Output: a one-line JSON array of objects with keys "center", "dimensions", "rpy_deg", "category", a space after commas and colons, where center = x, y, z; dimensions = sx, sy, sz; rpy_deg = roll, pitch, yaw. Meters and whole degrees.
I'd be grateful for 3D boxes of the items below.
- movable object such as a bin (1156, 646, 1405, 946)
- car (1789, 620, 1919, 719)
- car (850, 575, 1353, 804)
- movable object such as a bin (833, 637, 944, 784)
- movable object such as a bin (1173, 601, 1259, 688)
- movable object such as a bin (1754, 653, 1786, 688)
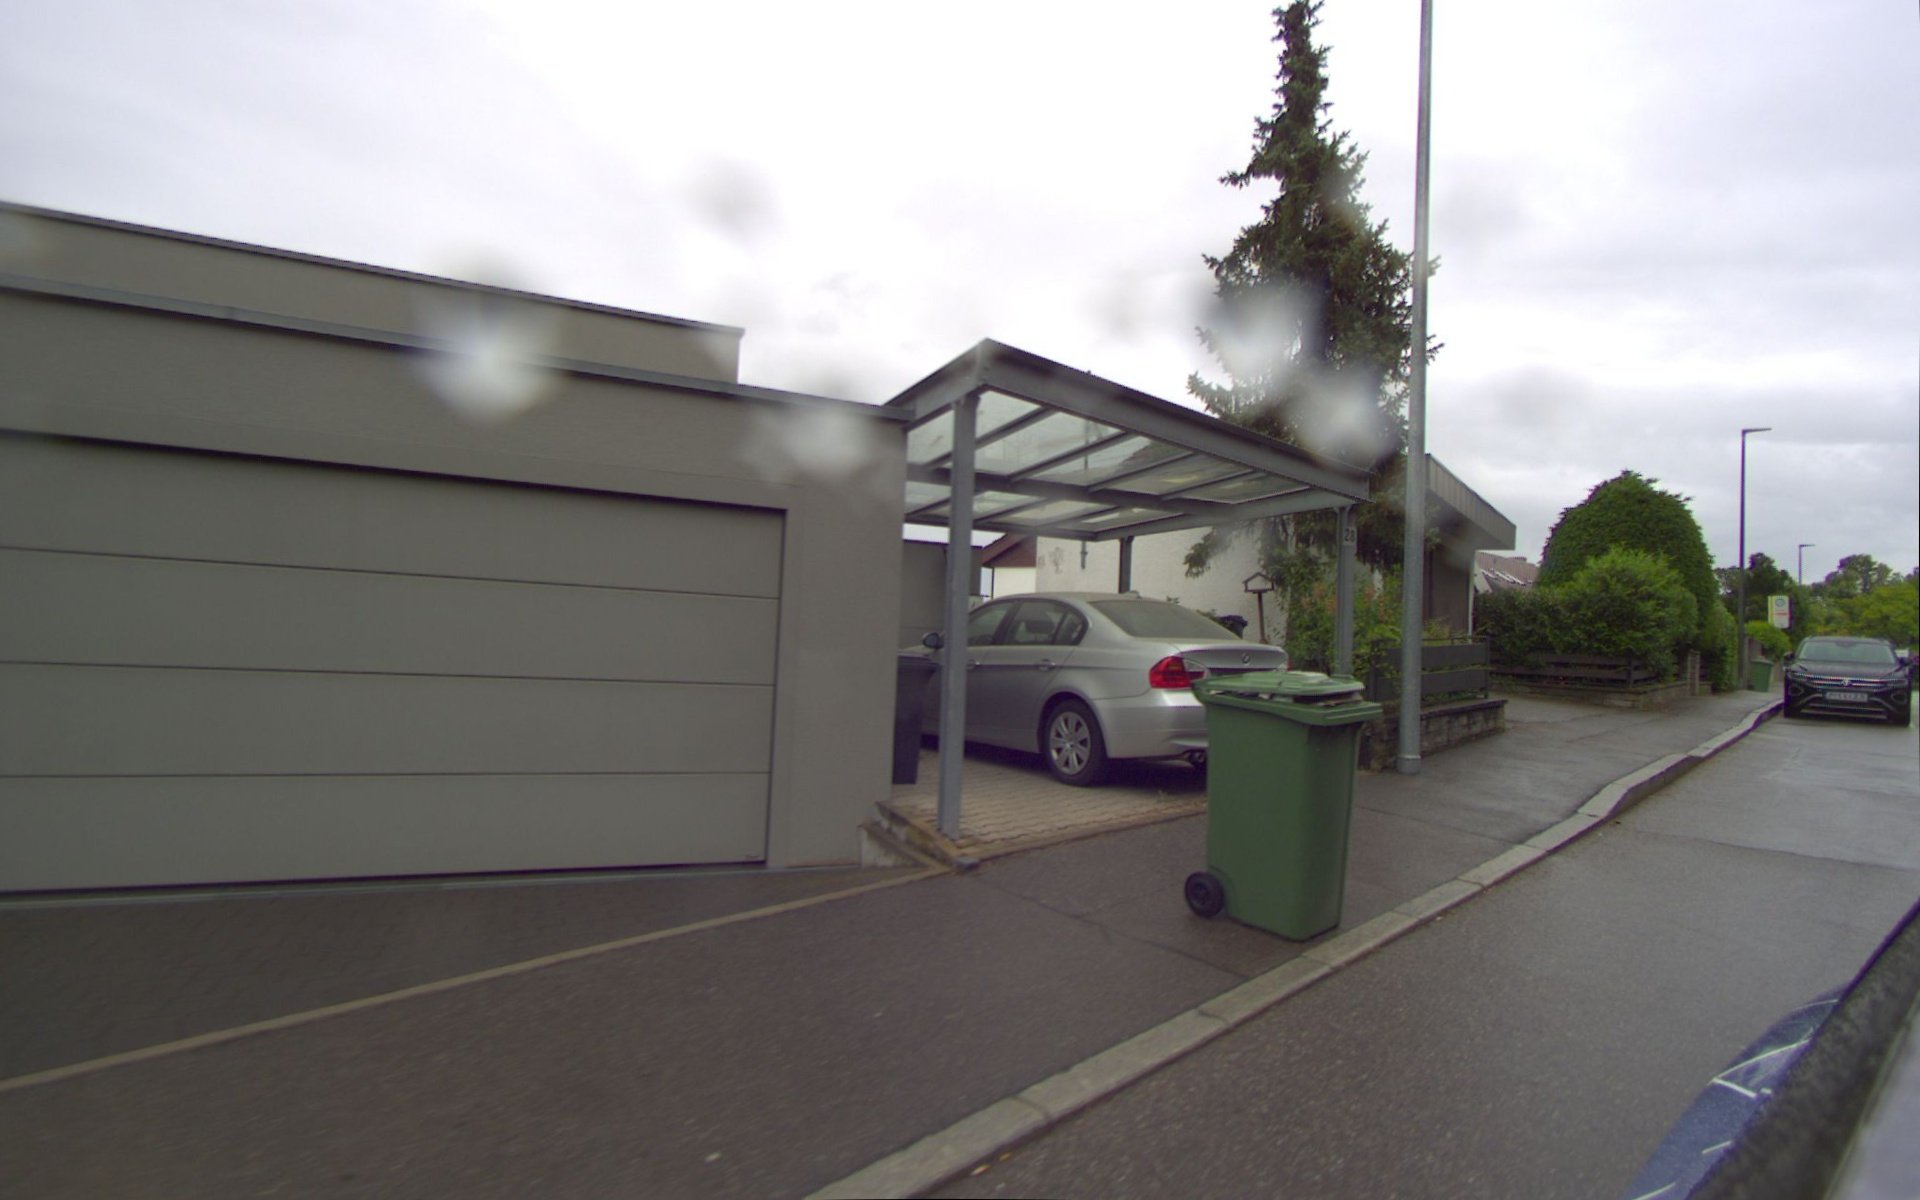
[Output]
[{"center": [1.437, 0.809, 4.559], "dimensions": [0.664, 1.109, 0.790], "rpy_deg": [1, 3, -44], "category": "movable object such as a bin"}, {"center": [17.141, 1.297, 19.292], "dimensions": [1.874, 1.612, 4.410], "rpy_deg": [1, -2, 42], "category": "car"}, {"center": [0.905, 0.592, 8.628], "dimensions": [1.904, 1.433, 4.230], "rpy_deg": [1, -1, -34], "category": "car"}, {"center": [-0.548, 0.783, 7.503], "dimensions": [0.492, 0.966, 0.953], "rpy_deg": [2, 0, -24], "category": "movable object such as a bin"}, {"center": [3.226, 0.575, 12.753], "dimensions": [0.792, 1.054, 0.767], "rpy_deg": [-4, -6, 40], "category": "movable object such as a bin"}, {"center": [26.990, 2.343, 33.717], "dimensions": [0.590, 1.102, 0.739], "rpy_deg": [5, -1, -45], "category": "movable object such as a bin"}]
